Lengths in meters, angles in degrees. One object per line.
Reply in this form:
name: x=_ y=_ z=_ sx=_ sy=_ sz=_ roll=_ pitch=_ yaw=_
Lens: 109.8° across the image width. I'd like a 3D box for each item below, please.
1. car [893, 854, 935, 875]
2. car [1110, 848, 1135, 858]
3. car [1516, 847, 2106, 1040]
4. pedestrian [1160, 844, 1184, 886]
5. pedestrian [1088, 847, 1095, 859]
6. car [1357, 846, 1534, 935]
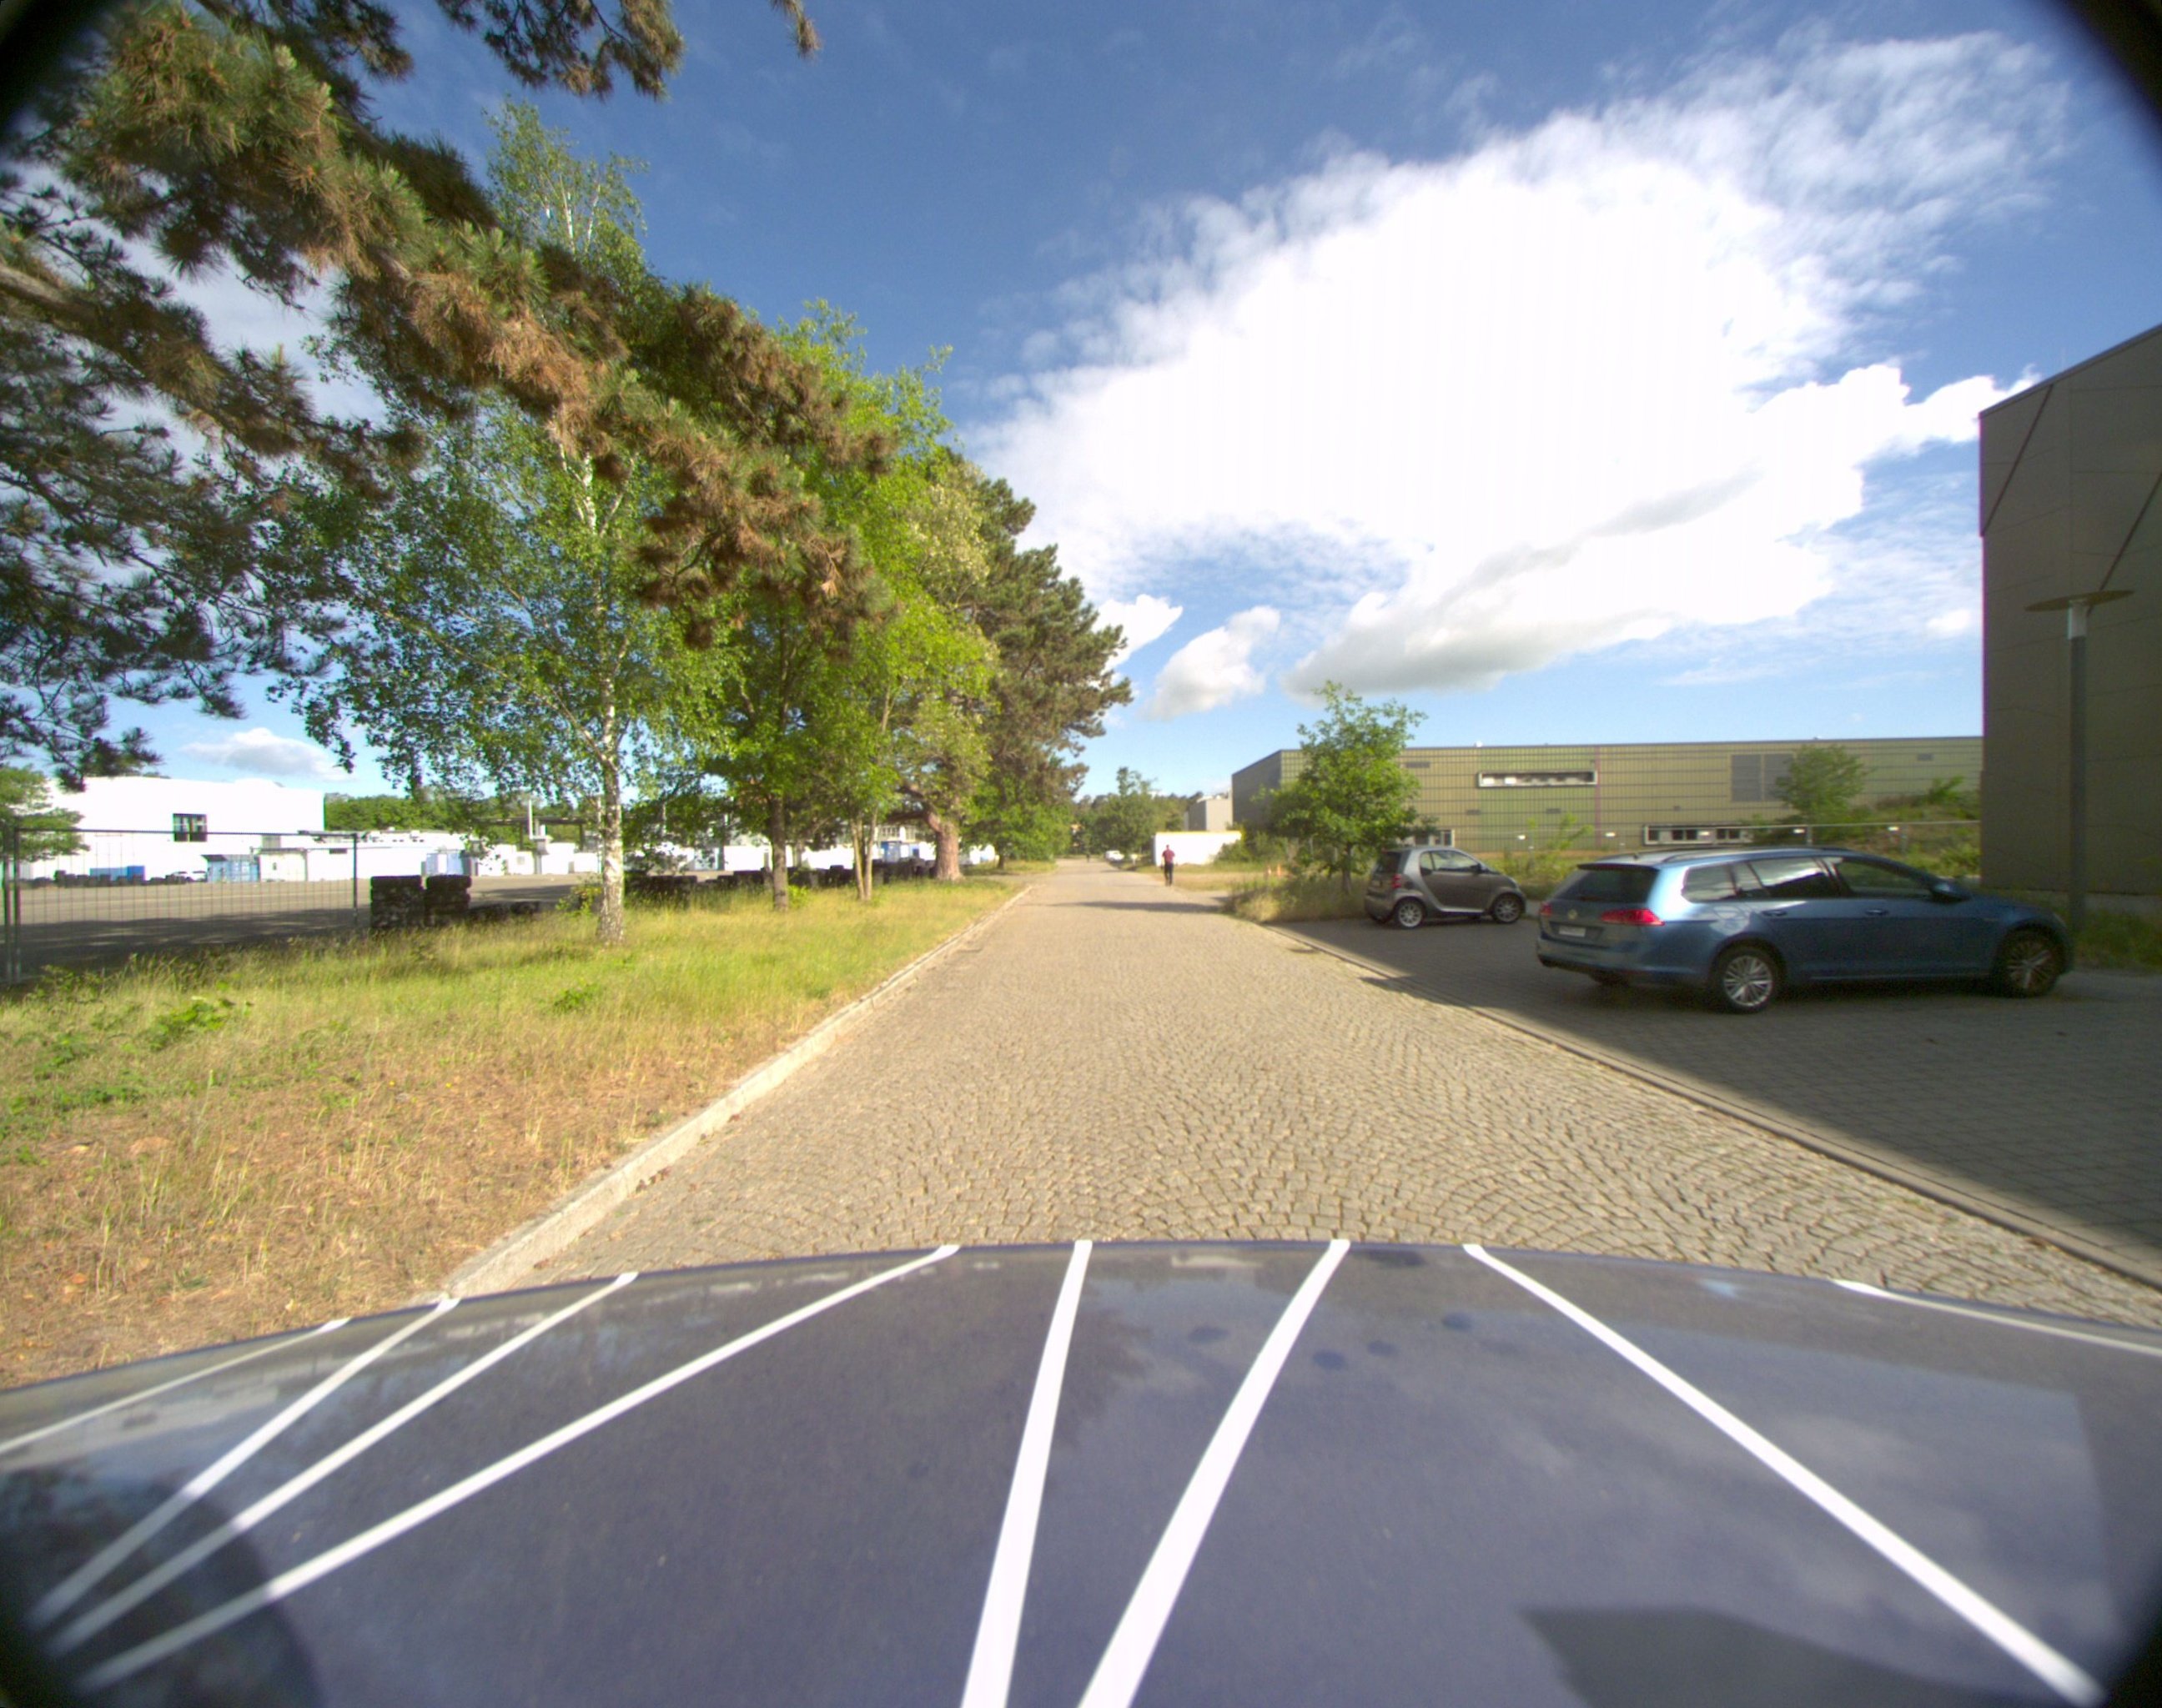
car: x=-12.341 y=0.732 z=56.481 sx=1.846 sy=1.440 sz=4.001 roll=-1 pitch=1 yaw=6
car: x=6.623 y=-0.165 z=122.214 sx=3.996 sy=1.678 sz=2.000 roll=-1 pitch=1 yaw=3
car: x=6.908 y=0.769 z=7.493 sx=4.268 sy=1.455 sz=1.680 roll=-3 pitch=0 yaw=-2
pedestrian: x=3.863 y=0.447 z=32.371 sx=0.806 sy=1.761 sz=1.152 roll=-1 pitch=1 yaw=-4
pedestrian: x=1.687 y=-0.200 z=120.190 sx=0.908 sy=1.797 sz=0.983 roll=-1 pitch=1 yaw=-7
car: x=7.068 y=0.672 z=14.920 sx=2.706 sy=1.533 sz=1.518 roll=-3 pitch=1 yaw=-1
